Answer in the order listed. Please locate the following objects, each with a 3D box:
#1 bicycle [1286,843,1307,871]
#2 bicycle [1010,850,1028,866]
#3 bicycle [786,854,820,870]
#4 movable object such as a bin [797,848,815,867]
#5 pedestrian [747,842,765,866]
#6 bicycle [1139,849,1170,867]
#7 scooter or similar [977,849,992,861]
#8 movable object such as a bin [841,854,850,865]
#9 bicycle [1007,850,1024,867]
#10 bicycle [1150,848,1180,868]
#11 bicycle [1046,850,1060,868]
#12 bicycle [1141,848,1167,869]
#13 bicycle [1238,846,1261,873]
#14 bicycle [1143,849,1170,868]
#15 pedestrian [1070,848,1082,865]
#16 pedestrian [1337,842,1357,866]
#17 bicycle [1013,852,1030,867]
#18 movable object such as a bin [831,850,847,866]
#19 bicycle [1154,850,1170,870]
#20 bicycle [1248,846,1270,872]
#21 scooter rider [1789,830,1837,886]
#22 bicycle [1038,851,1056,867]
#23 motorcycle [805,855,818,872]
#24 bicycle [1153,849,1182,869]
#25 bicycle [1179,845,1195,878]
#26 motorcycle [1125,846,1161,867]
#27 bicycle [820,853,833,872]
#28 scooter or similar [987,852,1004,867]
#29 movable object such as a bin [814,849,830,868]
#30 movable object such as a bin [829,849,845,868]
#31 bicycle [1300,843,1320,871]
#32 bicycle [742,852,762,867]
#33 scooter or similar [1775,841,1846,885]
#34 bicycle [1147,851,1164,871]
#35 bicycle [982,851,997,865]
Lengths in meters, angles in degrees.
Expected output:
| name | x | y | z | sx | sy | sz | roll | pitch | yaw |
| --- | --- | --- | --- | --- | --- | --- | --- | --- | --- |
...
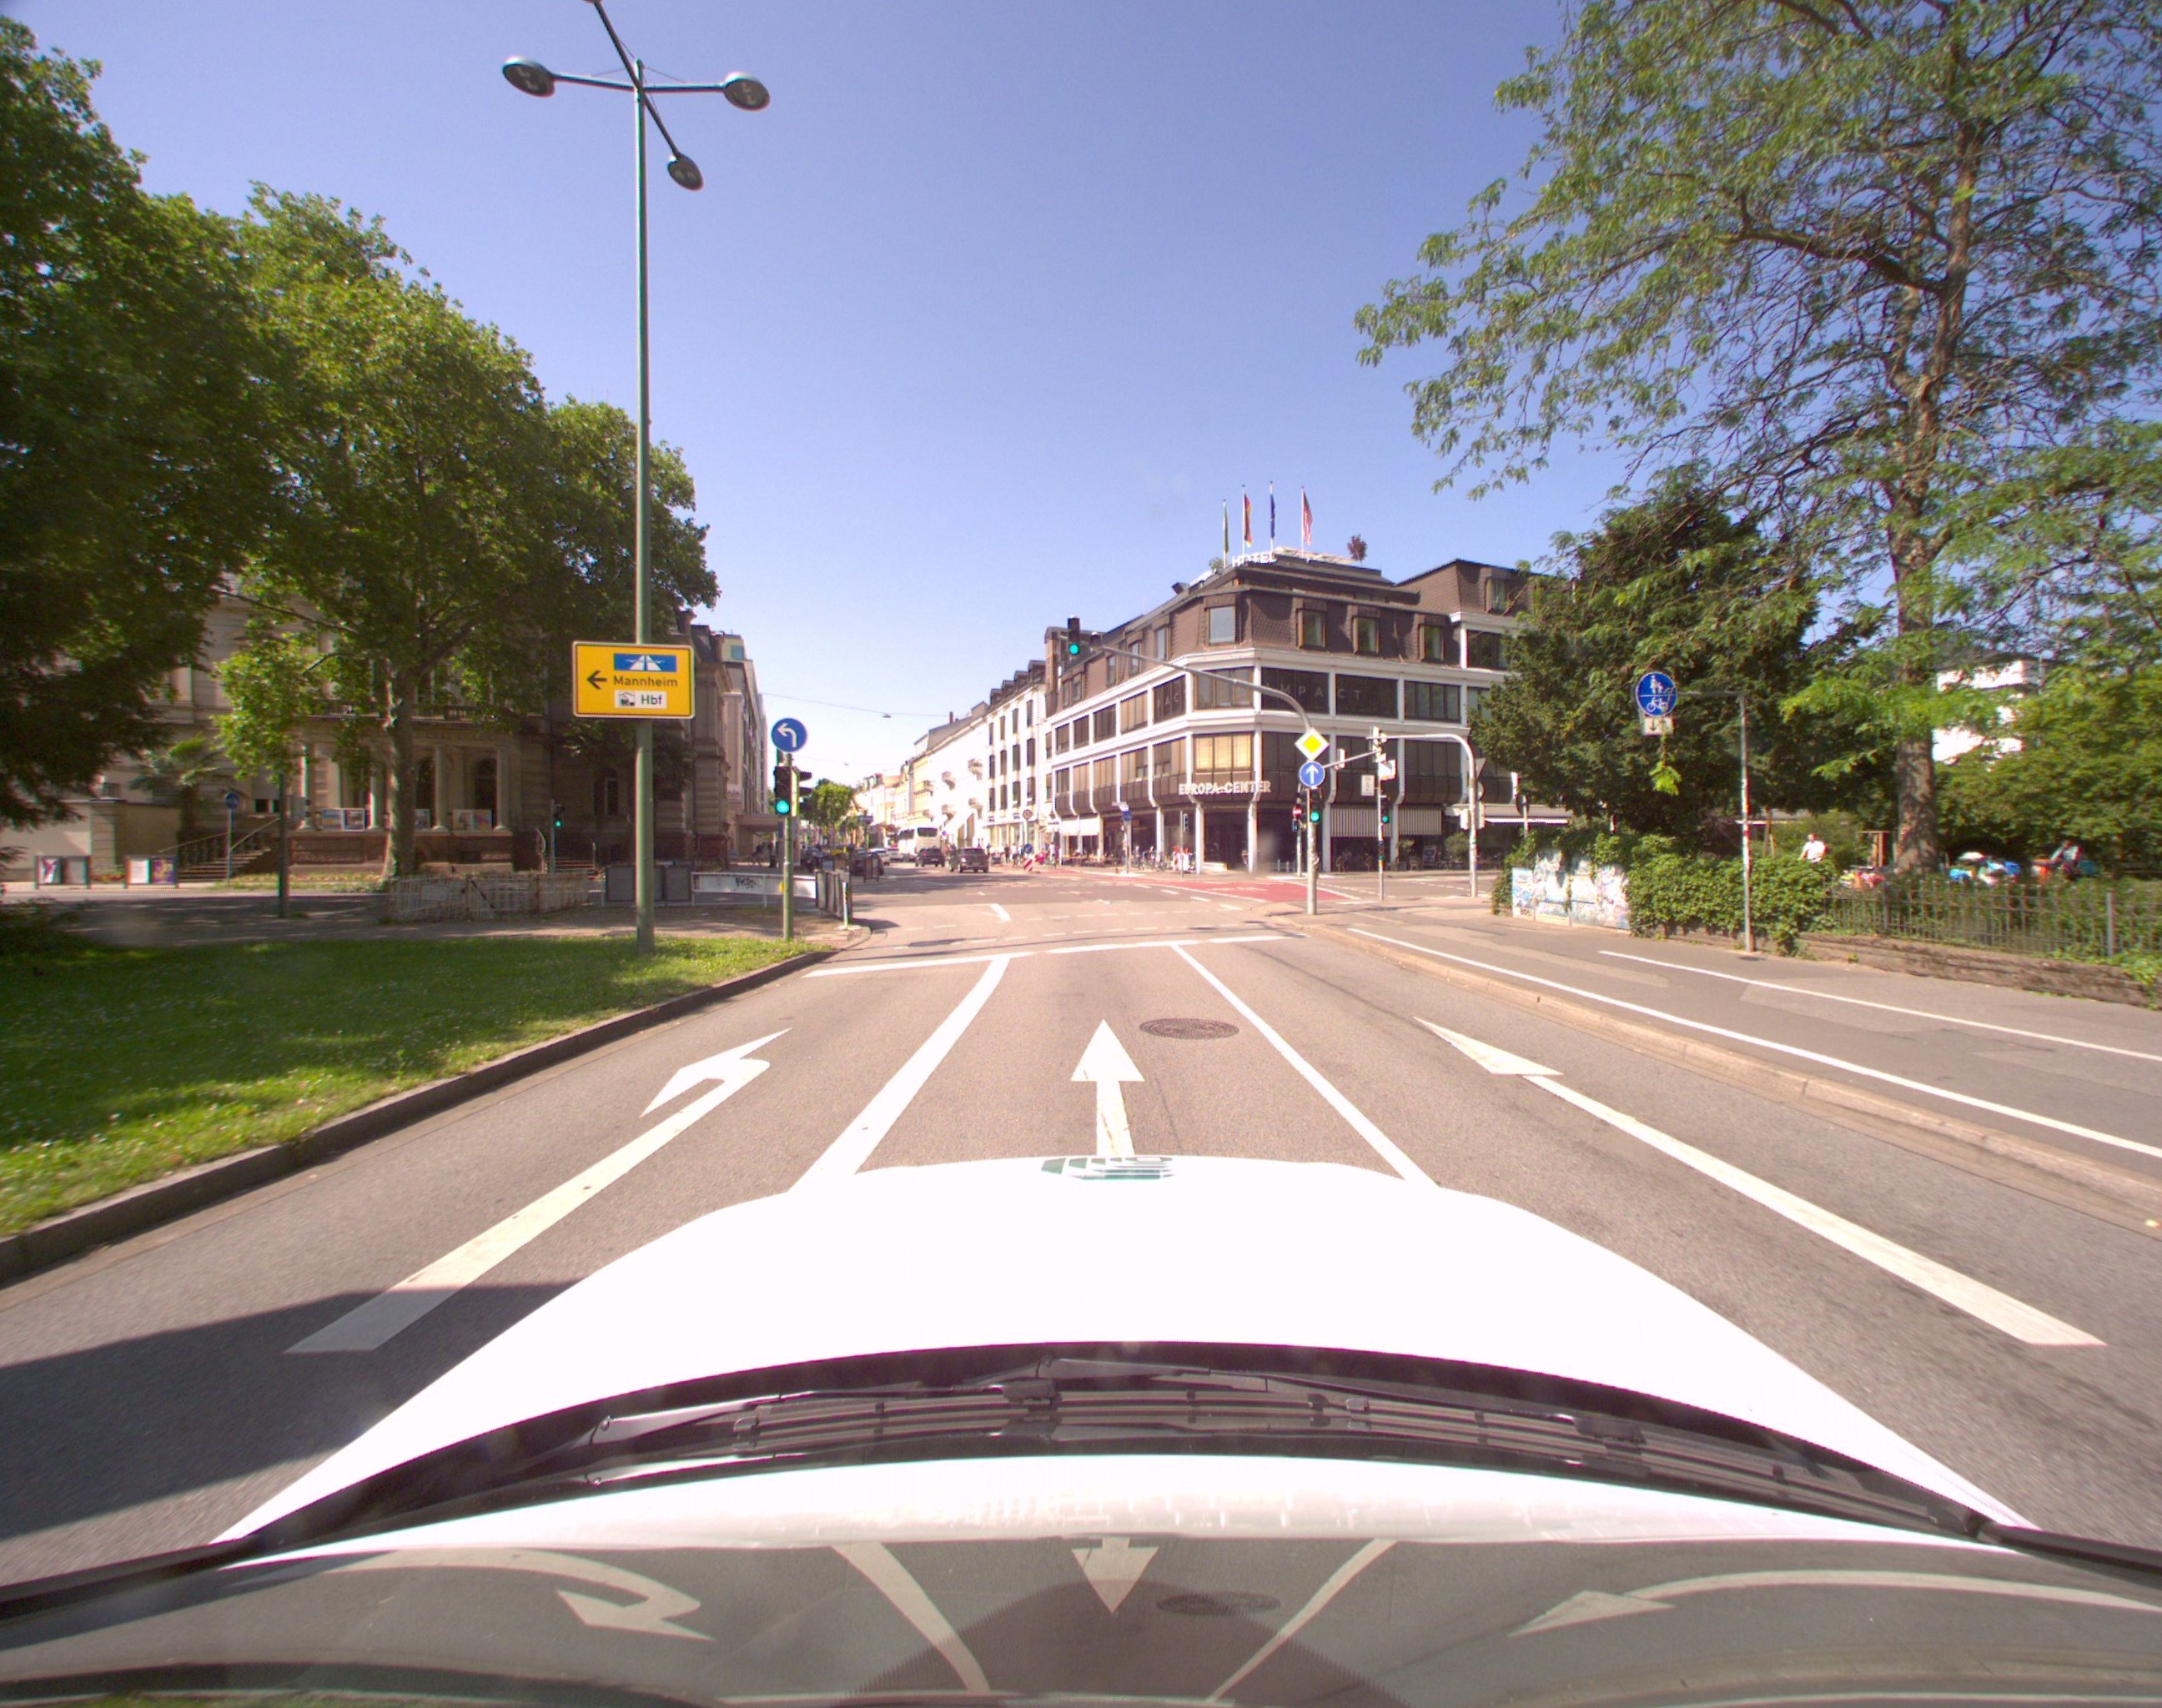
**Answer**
| name | x | y | z | sx | sy | sz | roll | pitch | yaw |
| --- | --- | --- | --- | --- | --- | --- | --- | --- | --- |
| bicycle | 11.526 | 0.168 | 43.467 | 0.524 | 1.422 | 1.980 | 0 | 2 | 31 |
| bicycle | -4.590 | 0.286 | 59.957 | 0.623 | 1.099 | 2.335 | 0 | 0 | -22 |
| bicycle | -20.175 | 0.620 | 59.121 | 2.251 | 1.120 | 0.551 | 1 | -1 | -32 |
| movable object such as a bin | -21.423 | 0.269 | 63.538 | 1.211 | 1.450 | 1.357 | 1 | 1 | -15 |
| pedestrian | -24.101 | 0.023 | 60.412 | 0.776 | 1.773 | 1.008 | 0 | 0 | 40 |
| bicycle | 4.606 | 0.265 | 50.764 | 2.252 | 1.097 | 0.275 | -1 | 1 | -34 |
| scooter or similar | -8.446 | 0.086 | 71.305 | 1.126 | 1.101 | 1.077 | 0 | 0 | -22 |
| movable object such as a bin | -20.832 | 0.497 | 72.178 | 0.494 | 0.939 | 0.559 | 0 | 3 | 43 |
| bicycle | -4.618 | 0.340 | 57.308 | 0.667 | 1.120 | 2.228 | 1 | 1 | -20 |
| bicycle | 5.018 | 0.259 | 48.602 | 1.719 | 1.120 | 0.276 | -2 | 1 | -14 |
| bicycle | -1.866 | 0.307 | 54.258 | 0.595 | 1.120 | 1.793 | -1 | 1 | -12 |
| bicycle | 4.423 | 0.276 | 49.327 | 1.547 | 1.207 | 0.276 | 0 | 1 | -14 |
| bicycle | 8.887 | 0.273 | 42.945 | 0.524 | 1.316 | 1.980 | 0 | 2 | 31 |
| bicycle | 4.544 | 0.275 | 48.982 | 1.573 | 1.120 | 0.276 | -2 | 1 | -14 |
| pedestrian | -0.328 | 0.165 | 58.375 | 0.712 | 1.173 | 0.694 | -1 | -1 | -12 |
| pedestrian | 15.222 | -0.019 | 46.613 | 0.818 | 1.334 | 0.978 | 0 | 1 | 33 |
| bicycle | -4.557 | 0.407 | 62.467 | 0.623 | 1.099 | 2.335 | 0 | 0 | -22 |
| movable object such as a bin | -20.936 | 0.353 | 70.509 | 1.282 | 1.299 | 0.847 | 0 | 0 | -21 |
| bicycle | 4.679 | 0.352 | 47.217 | 0.277 | 1.120 | 2.234 | -1 | 1 | -12 |
| bicycle | 9.364 | 0.258 | 42.732 | 0.524 | 1.316 | 1.871 | 0 | 2 | 31 |
| scooter rider | 22.570 | 0.117 | 25.113 | 0.708 | 1.672 | 0.819 | -1 | -1 | -15 |
| bicycle | -2.381 | 0.364 | 57.279 | 0.622 | 1.099 | 2.337 | 0 | 0 | -19 |
| motorcycle | -16.269 | 0.553 | 49.227 | 0.454 | 0.998 | 2.152 | 1 | 0 | -11 |
| bicycle | 5.114 | 0.276 | 48.219 | 1.719 | 1.120 | 0.276 | -2 | 1 | -14 |
| bicycle | 5.808 | 0.406 | 44.661 | 0.372 | 1.062 | 1.484 | -2 | 41 | 24 |
| motorcycle | 4.016 | 0.141 | 52.502 | 2.223 | 1.290 | 0.950 | -1 | -1 | 7 |
| bicycle | -15.377 | 0.548 | 49.233 | 0.429 | 1.120 | 2.235 | 1 | -1 | -9 |
| scooter or similar | -6.693 | 0.403 | 63.734 | 0.966 | 1.135 | 1.574 | 0 | 0 | -23 |
| movable object such as a bin | -20.267 | 0.344 | 63.731 | 1.125 | 1.450 | 1.432 | 1 | 1 | -15 |
| movable object such as a bin | -19.177 | 0.322 | 64.035 | 1.125 | 1.450 | 1.432 | 1 | 1 | -15 |
| bicycle | 12.246 | 0.151 | 43.529 | 0.524 | 1.422 | 1.980 | 0 | 2 | 31 |
| bicycle | -24.359 | 0.385 | 60.242 | 2.001 | 1.062 | 0.494 | 0 | 0 | 41 |
| scooter or similar | 22.477 | 0.276 | 25.100 | 1.693 | 1.298 | 0.817 | -1 | -1 | -15 |
| bicycle | 4.296 | 0.407 | 47.087 | 0.277 | 1.120 | 2.234 | -1 | 1 | -12 |
| bicycle | -7.389 | 0.346 | 65.561 | 0.623 | 1.099 | 2.335 | 0 | 0 | -22 |
